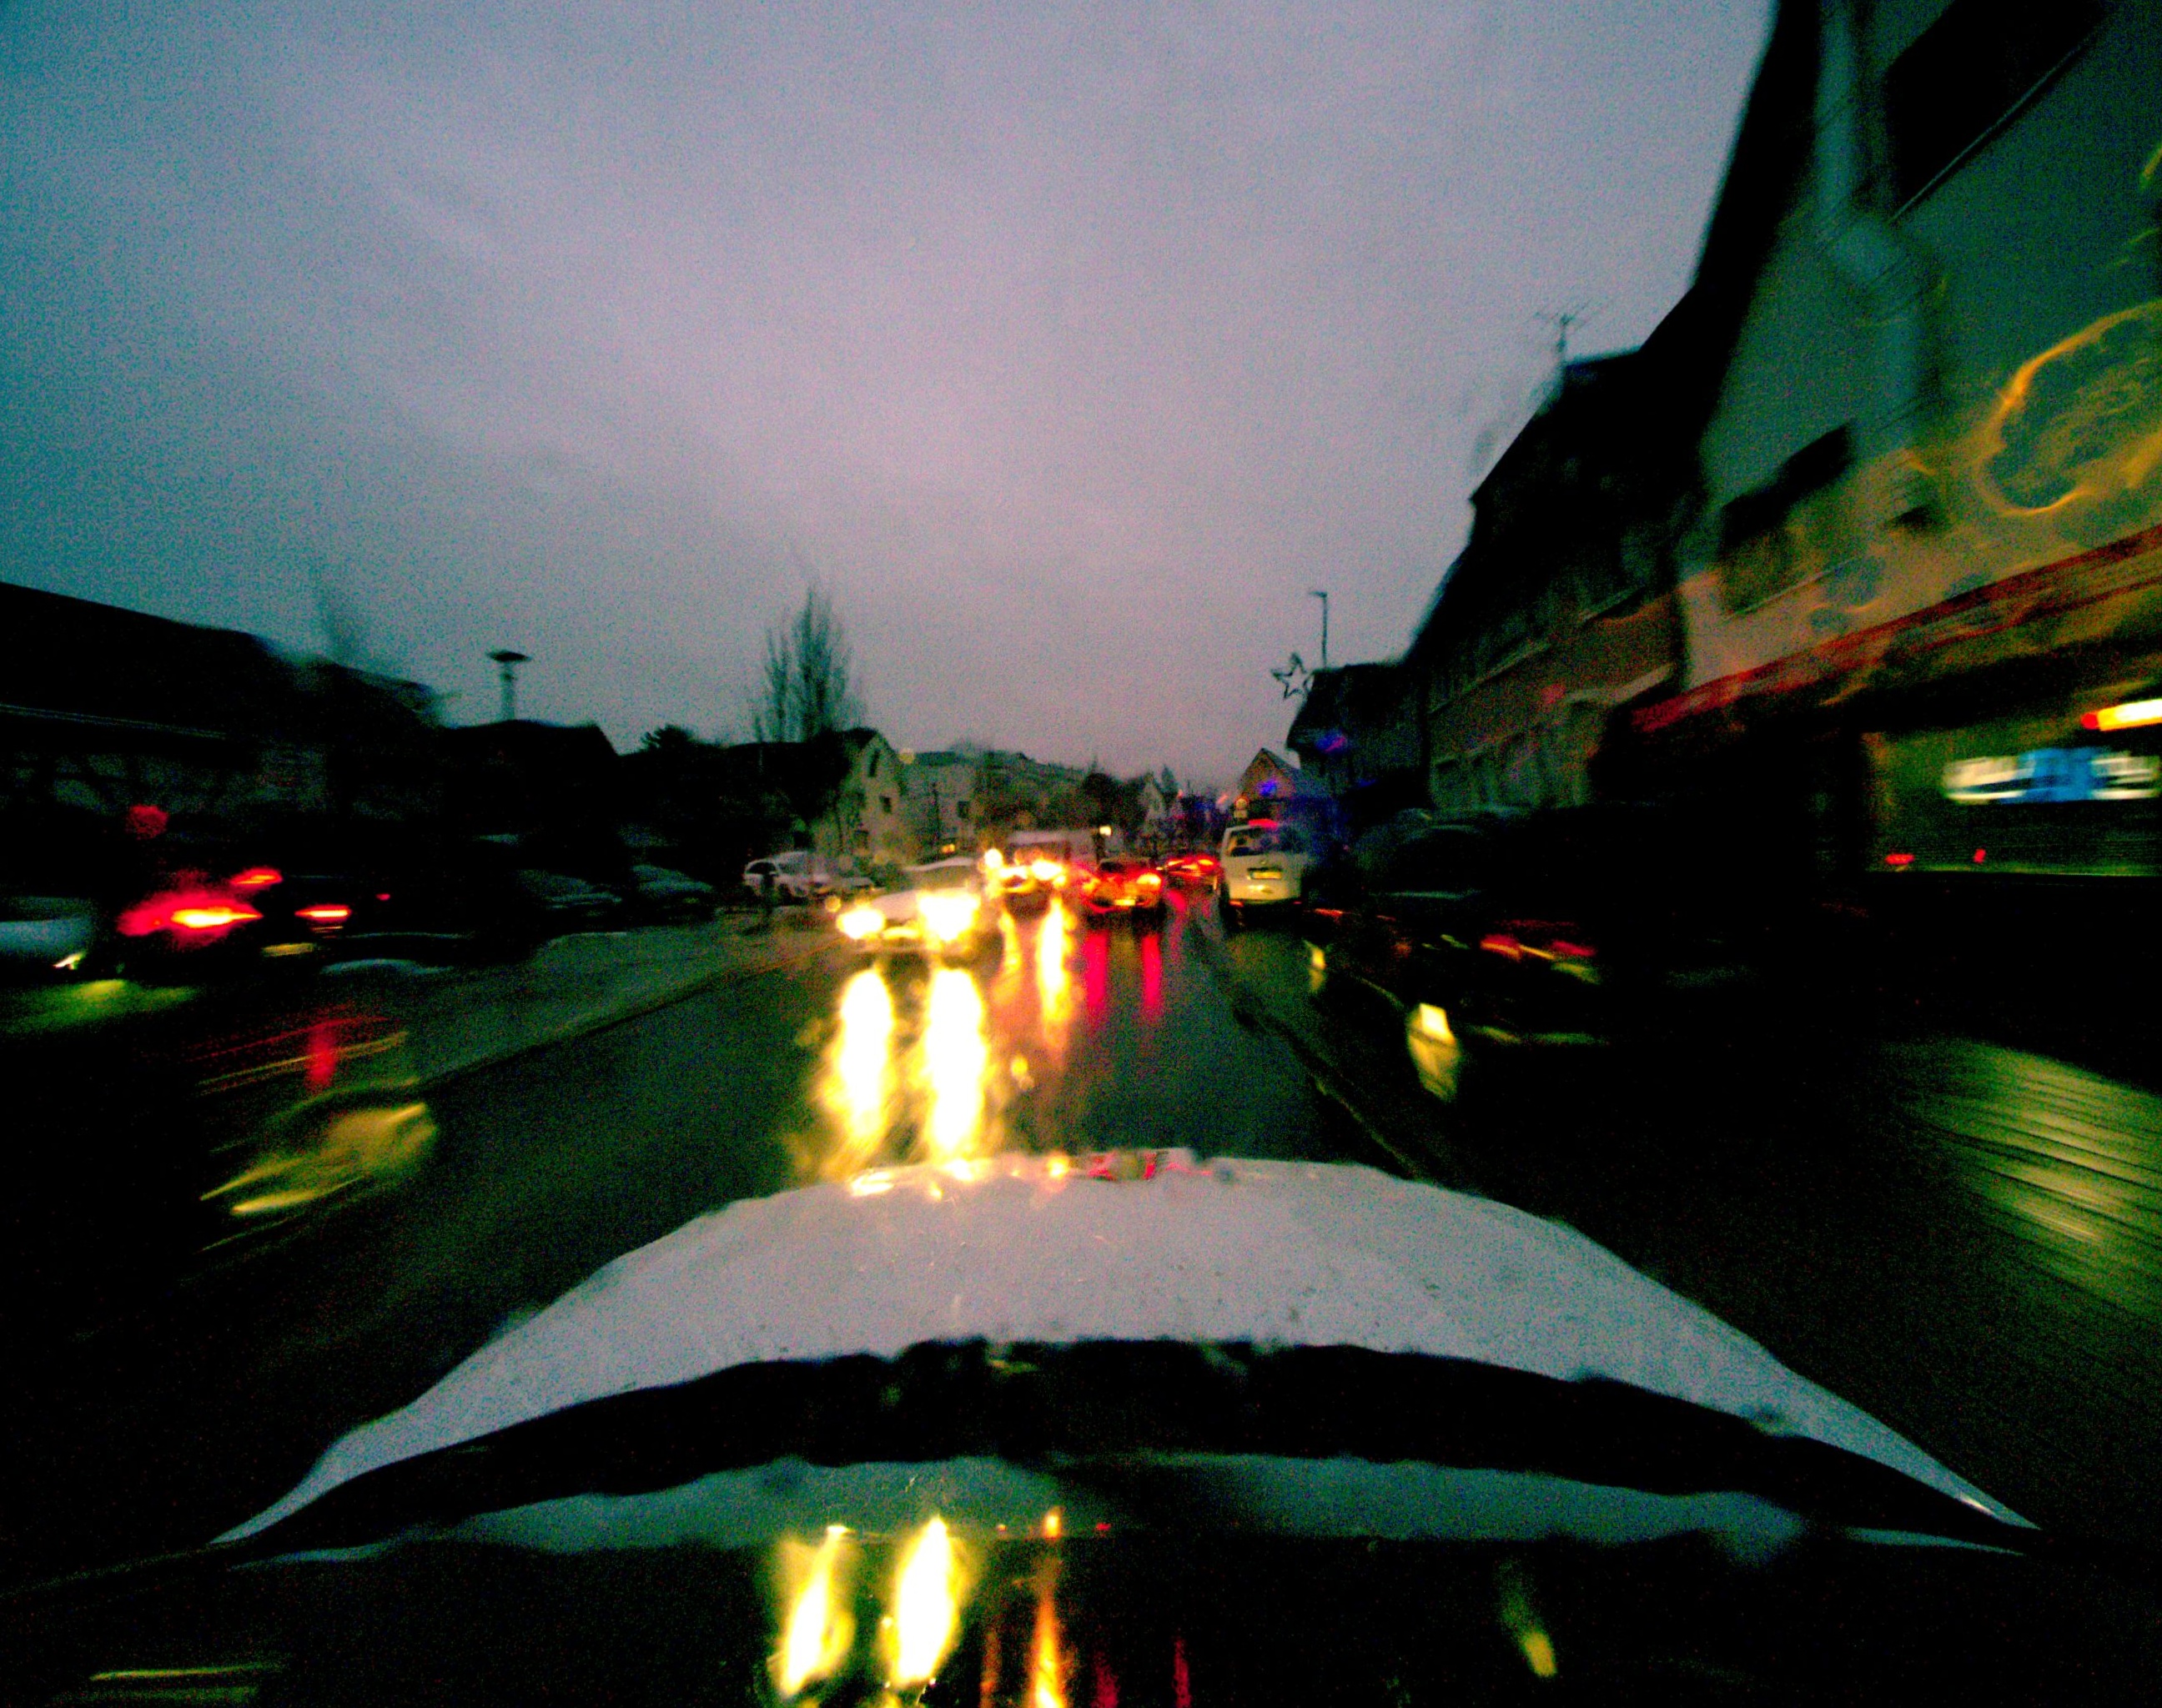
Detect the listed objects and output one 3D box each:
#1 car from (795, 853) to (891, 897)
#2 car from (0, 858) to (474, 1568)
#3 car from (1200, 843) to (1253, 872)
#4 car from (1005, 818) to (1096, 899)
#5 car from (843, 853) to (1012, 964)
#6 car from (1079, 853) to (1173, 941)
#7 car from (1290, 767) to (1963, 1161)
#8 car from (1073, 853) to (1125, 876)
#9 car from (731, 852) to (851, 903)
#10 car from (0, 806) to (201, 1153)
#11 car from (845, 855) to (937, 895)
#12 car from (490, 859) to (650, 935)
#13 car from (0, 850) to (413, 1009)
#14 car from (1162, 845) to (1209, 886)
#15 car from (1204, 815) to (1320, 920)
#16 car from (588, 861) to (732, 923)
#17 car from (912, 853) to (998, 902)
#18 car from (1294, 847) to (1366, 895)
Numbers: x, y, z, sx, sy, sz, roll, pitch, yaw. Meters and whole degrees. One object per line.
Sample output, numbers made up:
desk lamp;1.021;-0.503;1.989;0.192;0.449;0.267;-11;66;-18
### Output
car;-9.482;0.852;32.272;4.061;1.582;1.731;-4;-1;42
car;-3.144;0.816;1.090;1.613;1.480;3.840;-3;0;2
car;10.157;0.197;56.494;1.927;1.750;4.882;-4;-1;30
car;-0.910;0.121;28.682;2.183;2.490;6.155;-2;0;7
car;-2.433;0.796;14.171;1.818;1.518;4.551;-3;0;3
car;1.163;0.935;20.027;1.984;1.795;4.654;-2;0;4
car;2.953;0.482;5.814;1.966;1.661;4.464;-3;0;3
car;1.276;0.801;59.872;1.747;1.477;4.045;-3;-1;-34
car;-10.377;0.859;28.977;4.596;1.654;2.000;-3;-1;42
car;-8.852;0.746;5.191;5.716;1.946;2.000;-1;1;16
car;-8.065;0.882;34.327;2.012;1.530;3.951;-2;0;-44
car;-11.591;0.955;18.394;3.882;1.459;1.774;-3;0;38
car;-11.228;0.864;9.923;4.415;1.632;2.157;-2;-1;3
car;4.663;0.473;35.885;1.786;1.662;4.012;-1;0;11
car;3.857;0.252;18.155;1.963;1.960;4.861;-2;0;6
car;-11.191;0.995;21.560;4.021;1.459;1.769;-2;-1;37
car;-4.324;0.777;28.714;1.895;1.533;4.264;-2;0;6
car;9.106;0.581;30.058;1.726;1.561;3.668;-3;0;4
